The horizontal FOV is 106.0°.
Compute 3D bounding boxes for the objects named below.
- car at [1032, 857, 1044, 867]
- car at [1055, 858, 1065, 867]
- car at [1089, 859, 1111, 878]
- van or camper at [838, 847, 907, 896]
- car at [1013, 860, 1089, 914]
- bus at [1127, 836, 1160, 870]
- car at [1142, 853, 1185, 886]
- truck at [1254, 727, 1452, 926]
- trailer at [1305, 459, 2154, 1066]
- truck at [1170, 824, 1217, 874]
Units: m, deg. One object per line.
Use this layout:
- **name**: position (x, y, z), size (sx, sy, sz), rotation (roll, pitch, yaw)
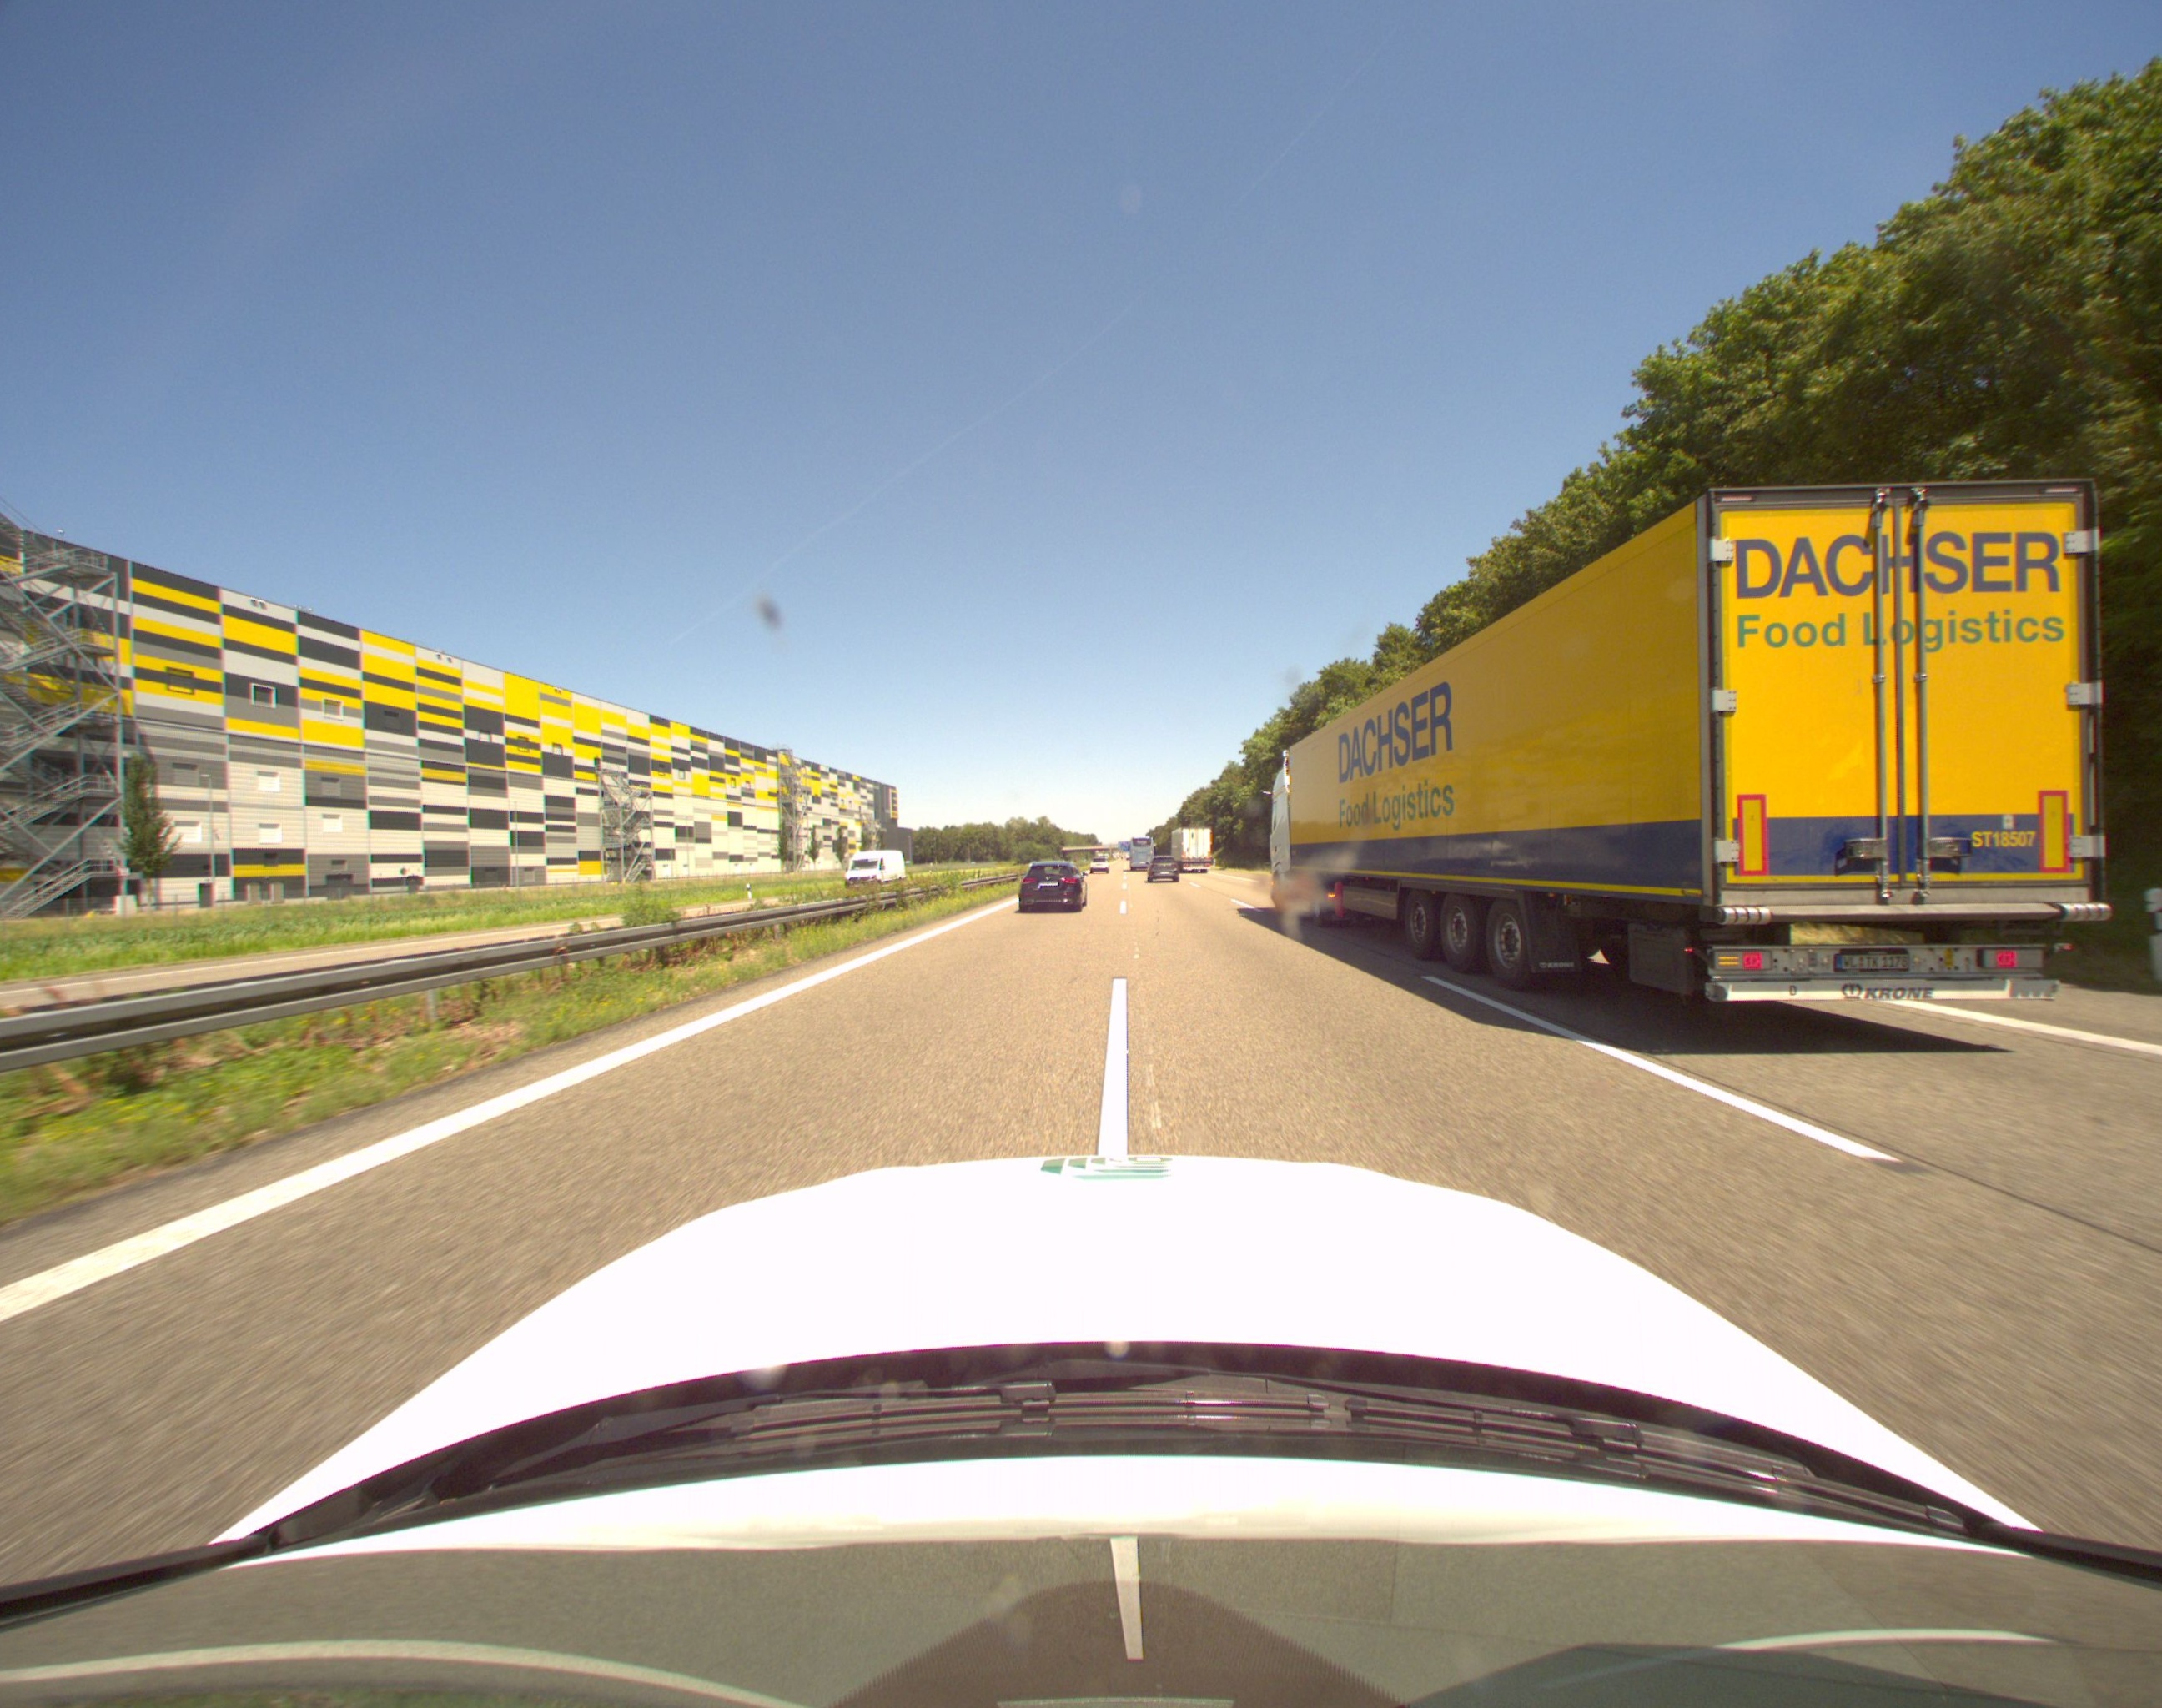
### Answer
- **car**: position (-9.168, 1.778, 173.453), size (1.986, 2.013, 4.001), rotation (-3, 0, 2)
- **car**: position (-5.026, 2.117, 193.106), size (1.986, 2.013, 4.001), rotation (-3, 0, 2)
- **car**: position (1.835, 1.338, 77.453), size (1.986, 1.728, 4.133), rotation (-1, 0, 2)
- **van or camper**: position (-12.933, 1.042, 51.031), size (2.048, 2.779, 6.970), rotation (-3, 0, 3)
- **car**: position (-0.796, 0.898, 24.116), size (1.784, 1.412, 4.057), rotation (-1, 0, 4)
- **bus**: position (6.676, -0.078, 87.928), size (3.051, 3.326, 8.277), rotation (-3, 0, 2)
- **car**: position (4.903, 0.905, 49.071), size (2.207, 1.790, 5.397), rotation (-2, 0, 3)
- **truck**: position (6.269, -0.555, 20.016), size (2.802, 4.006, 6.649), rotation (-2, 0, 3)
- **trailer**: position (5.867, -0.591, 11.236), size (2.823, 3.954, 11.692), rotation (-1, 0, 3)
- **truck**: position (10.084, -0.408, 73.847), size (3.407, 4.126, 9.574), rotation (-3, 0, 4)
